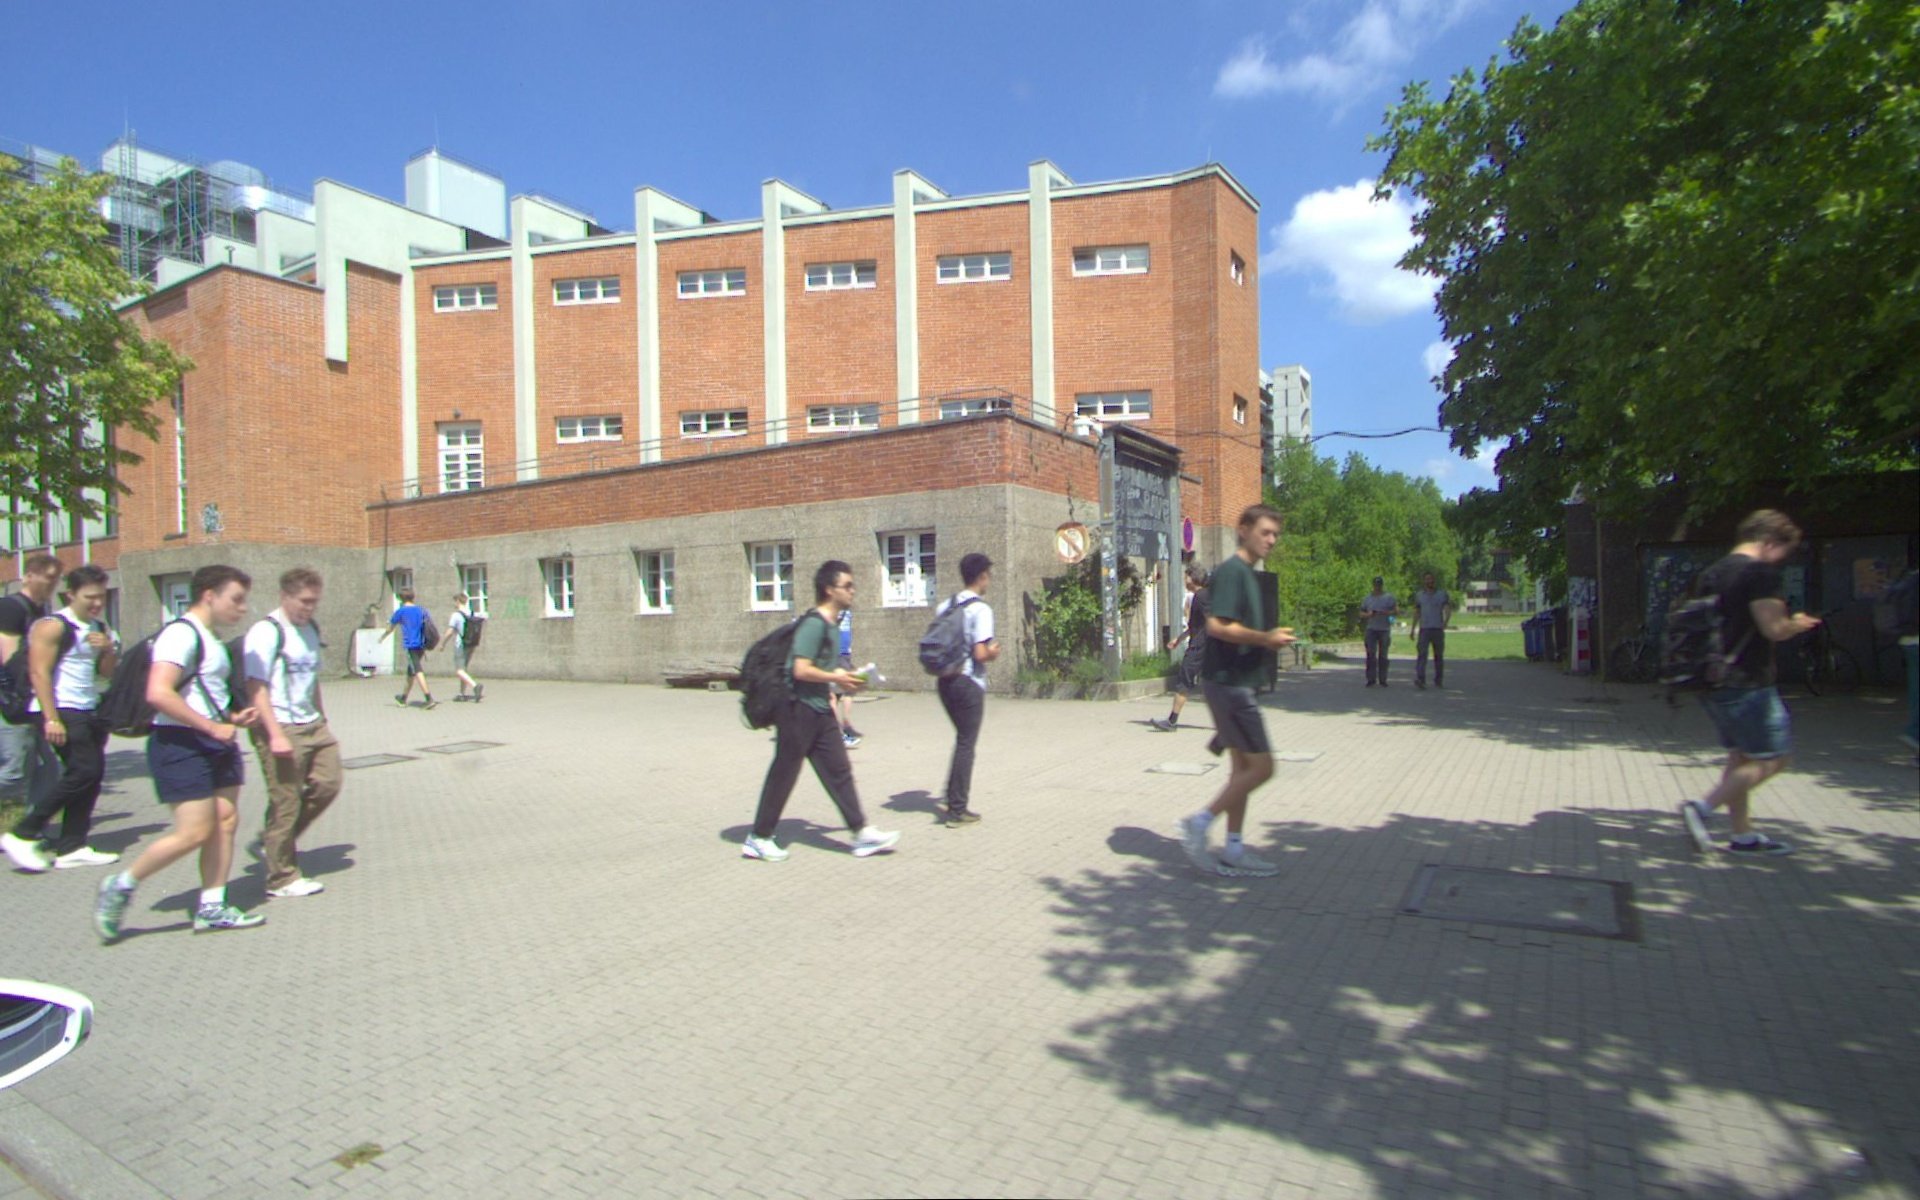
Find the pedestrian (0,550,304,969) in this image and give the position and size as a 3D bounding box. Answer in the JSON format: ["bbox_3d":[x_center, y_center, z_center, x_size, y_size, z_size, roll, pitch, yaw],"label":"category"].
[{"bbox_3d":[-3.793,0.674,4.715,0.966,1.762,0.699,-2,1,-19],"label":"pedestrian"}]

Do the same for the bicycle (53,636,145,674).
[{"bbox_3d":[-23.599,1.491,27.473,0.552,0.924,1.805,-1,1,31],"label":"bicycle"}]

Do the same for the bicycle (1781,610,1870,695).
[{"bbox_3d":[12.200,0.702,14.086,0.775,1.085,2.381,-2,-1,44],"label":"bicycle"}]

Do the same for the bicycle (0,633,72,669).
[{"bbox_3d":[-28.105,1.532,30.249,0.552,0.998,1.805,-1,1,31],"label":"bicycle"}]

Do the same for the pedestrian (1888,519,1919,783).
[{"bbox_3d":[6.478,0.310,6.151,0.935,1.659,0.873,-2,0,32],"label":"pedestrian"}]

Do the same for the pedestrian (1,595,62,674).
[{"bbox_3d":[-22.666,0.836,24.438,1.100,1.884,0.789,-1,0,30],"label":"pedestrian"}]

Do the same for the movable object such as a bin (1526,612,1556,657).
[{"bbox_3d":[17.489,1.036,30.145,0.756,1.337,0.780,0,0,32],"label":"movable object such as a bin"}]

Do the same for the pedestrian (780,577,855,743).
[{"bbox_3d":[-1.465,0.610,10.338,0.561,1.652,0.502,-1,0,20],"label":"pedestrian"}]

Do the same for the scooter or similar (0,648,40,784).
[{"bbox_3d":[-8.976,1.057,9.276,0.644,1.176,1.253,-1,0,-42],"label":"scooter or similar"}]

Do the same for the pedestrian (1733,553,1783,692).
[{"bbox_3d":[11.172,0.313,14.021,0.523,1.907,0.445,0,0,42],"label":"pedestrian"}]

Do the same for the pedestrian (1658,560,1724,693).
[{"bbox_3d":[10.758,0.390,14.753,0.548,1.908,0.529,-2,1,4],"label":"pedestrian"}]

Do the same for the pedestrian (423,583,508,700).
[{"bbox_3d":[-8.061,0.663,16.350,0.977,1.828,0.701,0,3,24],"label":"pedestrian"}]

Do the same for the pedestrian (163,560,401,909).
[{"bbox_3d":[-3.694,0.677,5.545,0.893,1.763,0.676,-2,1,-21],"label":"pedestrian"}]

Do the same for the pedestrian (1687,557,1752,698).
[{"bbox_3d":[10.592,0.382,13.964,0.521,1.907,0.556,0,0,-28],"label":"pedestrian"}]

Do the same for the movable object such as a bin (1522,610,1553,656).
[{"bbox_3d":[16.836,0.952,29.200,0.756,1.337,0.780,0,0,32],"label":"movable object such as a bin"}]

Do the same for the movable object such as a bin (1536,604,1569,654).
[{"bbox_3d":[16.199,0.798,27.368,0.756,1.337,0.780,0,0,32],"label":"movable object such as a bin"}]

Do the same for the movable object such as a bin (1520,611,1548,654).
[{"bbox_3d":[18.387,1.027,32.073,0.756,1.337,0.780,0,0,32],"label":"movable object such as a bin"}]

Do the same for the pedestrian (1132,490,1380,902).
[{"bbox_3d":[1.454,0.453,5.103,1.095,1.884,0.854,-1,0,11],"label":"pedestrian"}]

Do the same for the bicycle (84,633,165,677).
[{"bbox_3d":[-22.014,1.433,26.416,0.552,1.047,1.532,-1,0,31],"label":"bicycle"}]

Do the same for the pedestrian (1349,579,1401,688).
[{"bbox_3d":[6.980,0.546,16.837,0.720,1.762,0.832,-1,2,28],"label":"pedestrian"}]

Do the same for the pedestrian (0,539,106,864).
[{"bbox_3d":[-6.112,0.628,6.461,0.819,2.007,0.686,-2,1,-38],"label":"pedestrian"}]

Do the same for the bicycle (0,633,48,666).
[{"bbox_3d":[-30.755,1.601,32.349,0.552,0.998,1.805,-1,1,31],"label":"bicycle"}]

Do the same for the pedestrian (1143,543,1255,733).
[{"bbox_3d":[2.513,0.383,10.462,1.057,1.892,0.761,-1,2,18],"label":"pedestrian"}]

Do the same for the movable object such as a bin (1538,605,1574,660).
[{"bbox_3d":[14.997,0.812,25.181,0.756,1.337,0.780,0,0,32],"label":"movable object such as a bin"}]

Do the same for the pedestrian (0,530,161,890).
[{"bbox_3d":[-5.419,0.630,5.919,0.813,2.006,0.618,-2,0,1],"label":"pedestrian"}]

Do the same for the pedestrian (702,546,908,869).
[{"bbox_3d":[-0.868,0.587,5.809,0.975,1.743,0.703,-1,2,9],"label":"pedestrian"}]

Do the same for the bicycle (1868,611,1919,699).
[{"bbox_3d":[12.920,0.701,13.539,0.773,1.085,2.386,-2,-1,39],"label":"bicycle"}]

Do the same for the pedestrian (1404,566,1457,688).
[{"bbox_3d":[7.614,0.418,16.190,0.720,1.908,0.832,1,1,29],"label":"pedestrian"}]

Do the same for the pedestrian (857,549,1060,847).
[{"bbox_3d":[0.020,0.575,6.526,0.701,1.739,1.101,-3,2,36],"label":"pedestrian"}]

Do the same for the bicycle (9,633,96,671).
[{"bbox_3d":[-26.886,1.515,29.698,0.552,0.998,1.805,-1,1,31],"label":"bicycle"}]

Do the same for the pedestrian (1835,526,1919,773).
[{"bbox_3d":[6.841,0.329,7.003,0.935,1.659,0.873,-1,0,32],"label":"pedestrian"}]

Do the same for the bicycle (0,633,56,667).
[{"bbox_3d":[-30.235,1.595,32.063,0.552,0.998,1.805,-1,1,31],"label":"bicycle"}]

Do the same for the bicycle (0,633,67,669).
[{"bbox_3d":[-28.515,1.537,30.541,0.552,0.998,1.805,-1,1,31],"label":"bicycle"}]

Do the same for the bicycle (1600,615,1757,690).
[{"bbox_3d":[11.514,0.832,16.130,1.997,1.155,0.572,-1,-1,32],"label":"bicycle"}]

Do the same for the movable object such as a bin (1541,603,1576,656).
[{"bbox_3d":[15.560,0.754,26.032,0.756,1.337,0.780,0,0,32],"label":"movable object such as a bin"}]

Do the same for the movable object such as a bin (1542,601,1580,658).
[{"bbox_3d":[14.237,0.691,23.738,0.756,1.337,0.780,0,0,32],"label":"movable object such as a bin"}]

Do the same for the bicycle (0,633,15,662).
[{"bbox_3d":[-33.830,1.671,34.452,0.552,0.998,1.805,-1,1,31],"label":"bicycle"}]

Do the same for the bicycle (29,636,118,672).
[{"bbox_3d":[-25.426,1.531,28.756,0.552,0.924,1.805,-1,1,31],"label":"bicycle"}]

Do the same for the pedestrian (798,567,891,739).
[{"bbox_3d":[-1.262,0.573,11.030,0.740,1.811,0.709,-1,0,20],"label":"pedestrian"}]

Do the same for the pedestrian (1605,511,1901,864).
[{"bbox_3d":[3.965,0.396,5.070,0.815,1.617,0.849,-1,1,-11],"label":"pedestrian"}]

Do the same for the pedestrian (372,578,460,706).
[{"bbox_3d":[-8.411,0.636,15.501,0.977,1.917,0.701,0,2,24],"label":"pedestrian"}]
